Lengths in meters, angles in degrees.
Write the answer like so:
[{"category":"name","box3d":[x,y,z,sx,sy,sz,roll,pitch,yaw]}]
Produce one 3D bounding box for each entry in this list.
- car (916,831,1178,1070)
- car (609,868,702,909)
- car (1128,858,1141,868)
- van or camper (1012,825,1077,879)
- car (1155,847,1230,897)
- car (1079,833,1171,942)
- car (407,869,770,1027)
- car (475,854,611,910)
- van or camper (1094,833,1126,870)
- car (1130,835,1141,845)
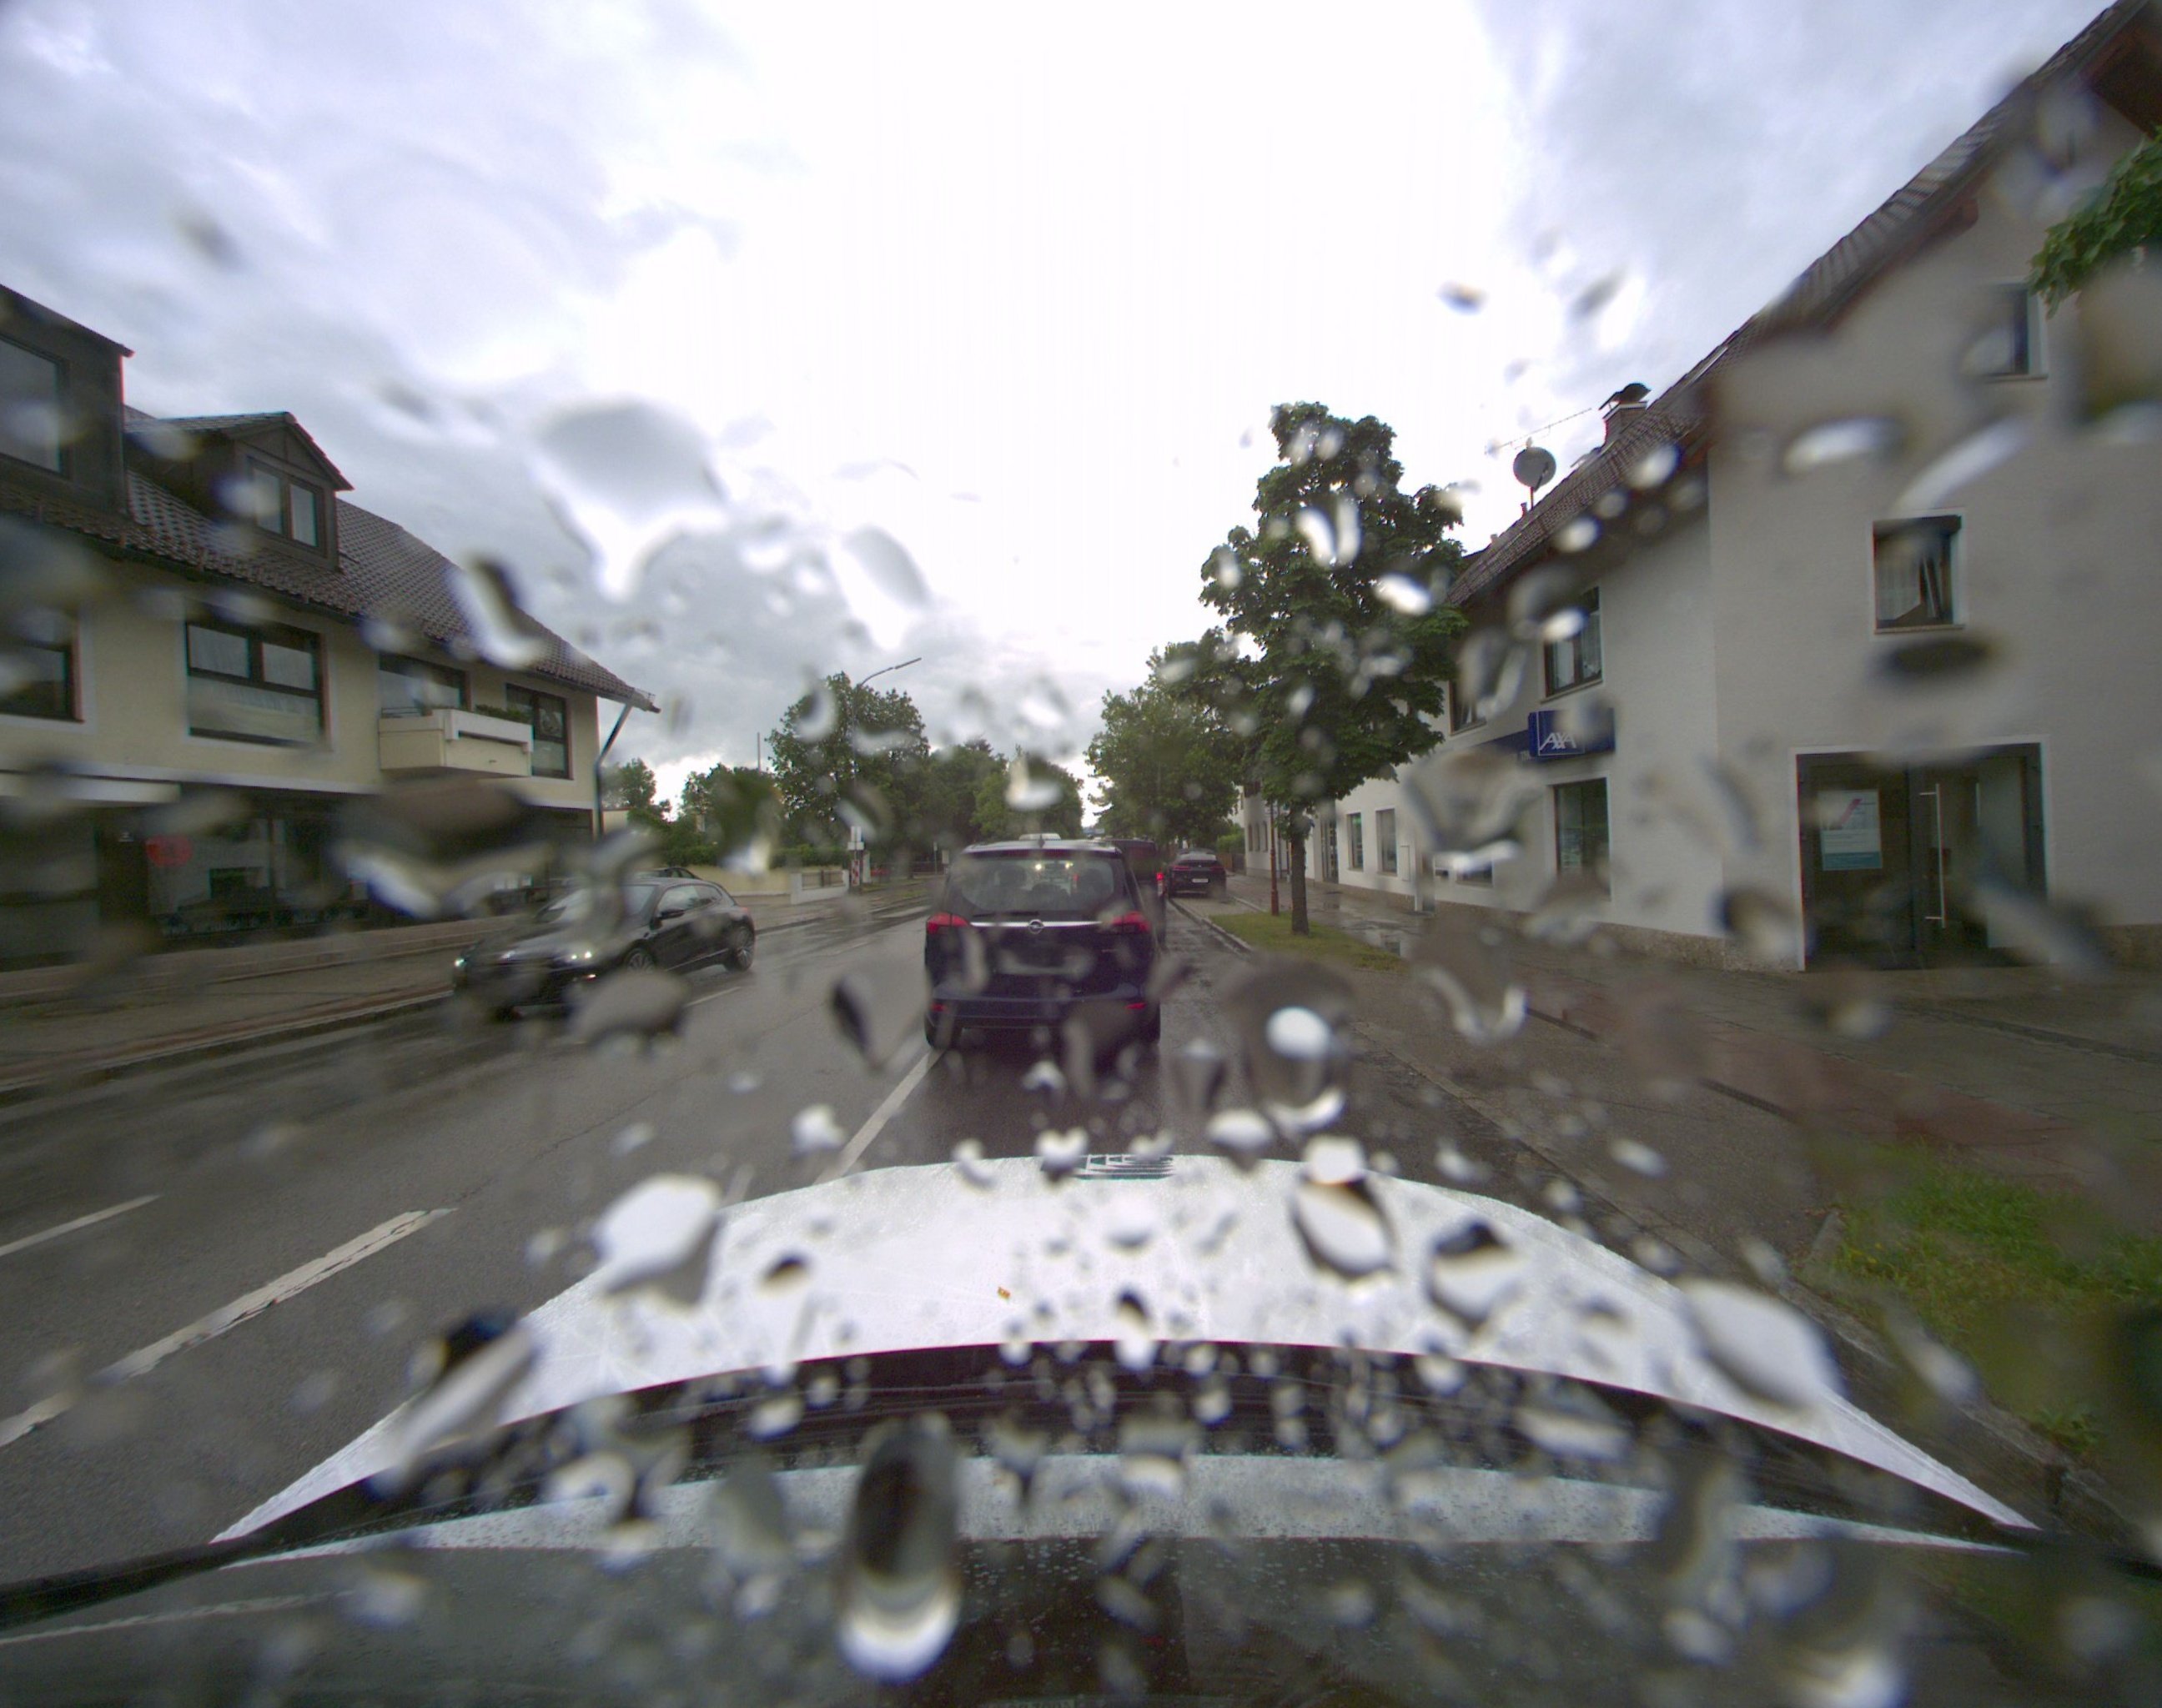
[{"category":"car","box3d":[-0.167,0.654,7.375,1.762,1.604,3.665,-1,0,2]},{"category":"car","box3d":[-16.413,1.298,31.626,1.601,1.380,3.510,-3,0,2]},{"category":"car","box3d":[7.632,1.253,116.666,1.624,1.378,3.624,-1,-1,2]},{"category":"van or camper","box3d":[-2.123,-0.092,44.590,2.098,2.707,6.234,-2,0,-16]},{"category":"car","box3d":[3.712,0.573,27.873,2.110,1.581,3.936,-1,0,1]},{"category":"car","box3d":[0.777,0.557,14.976,1.494,1.776,3.113,-1,0,2]},{"category":"car","box3d":[-5.695,0.983,10.129,1.989,1.407,3.885,-3,0,2]},{"category":"car","box3d":[-20.858,1.000,31.873,1.957,1.919,4.738,-3,0,1]},{"category":"van or camper","box3d":[2.294,-0.170,63.982,2.351,2.665,5.374,-2,0,2]},{"category":"car","box3d":[8.410,-2.094,126.047,1.624,1.378,3.624,-3,0,2]}]
